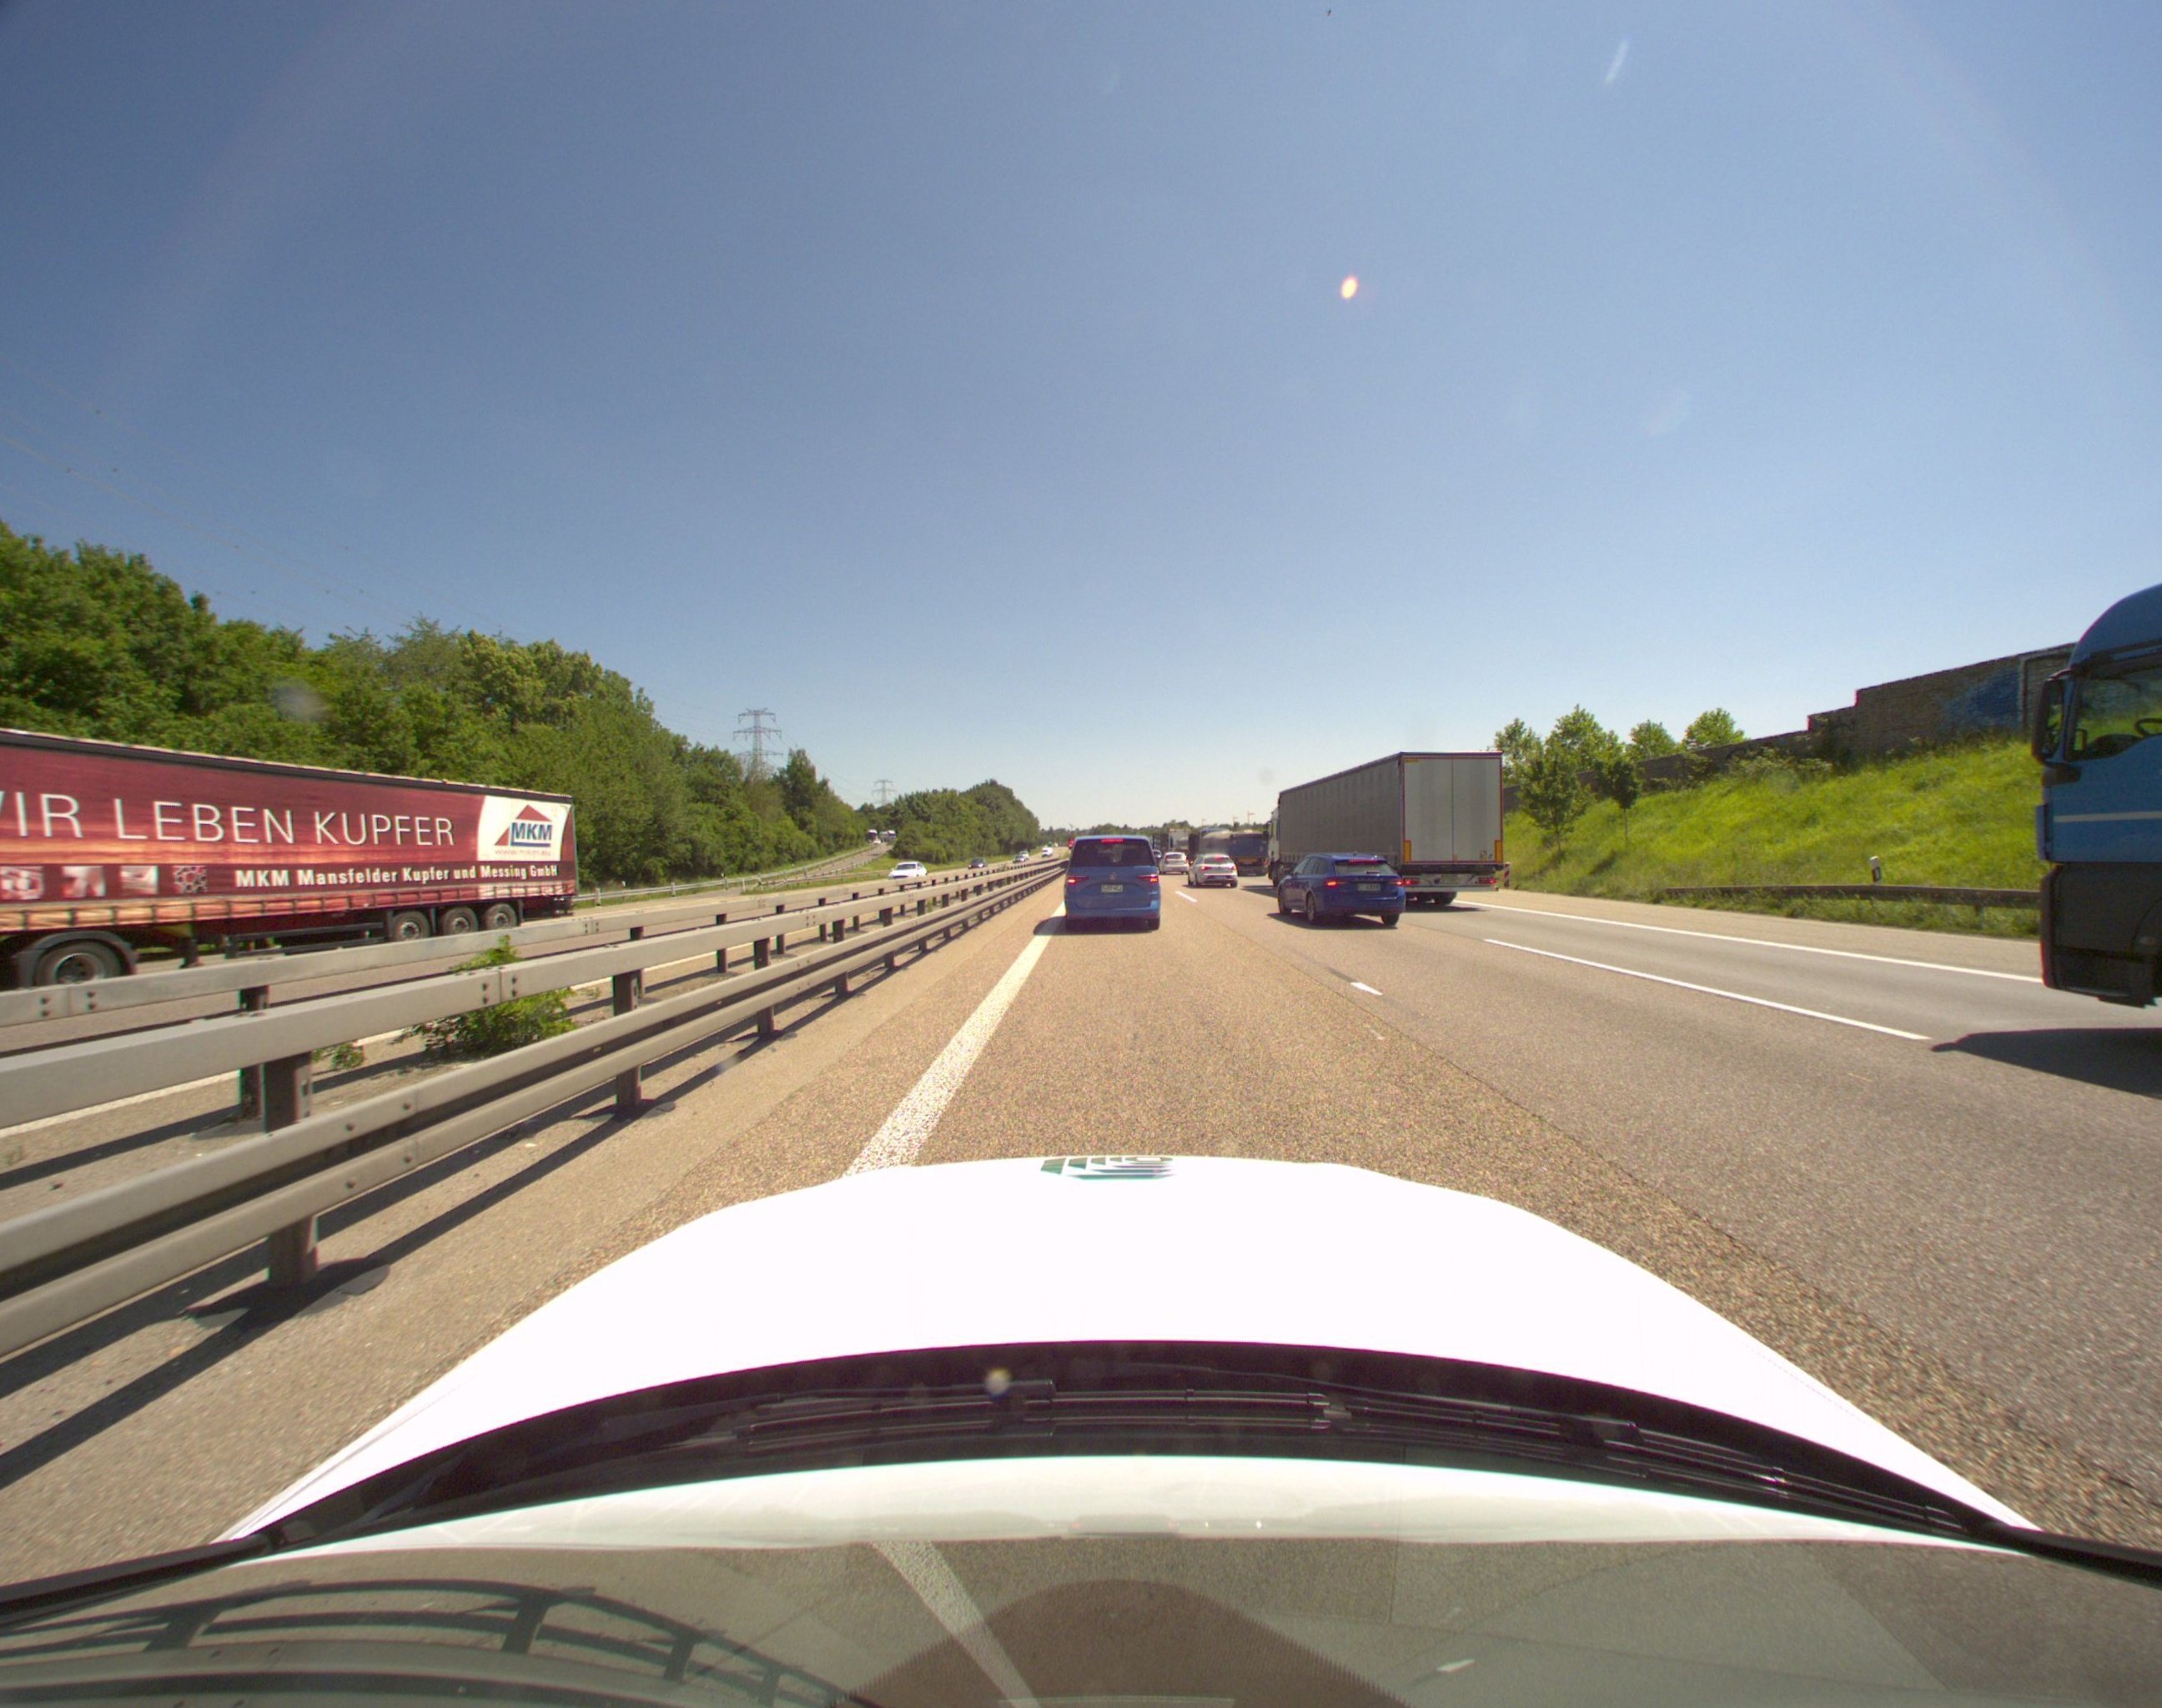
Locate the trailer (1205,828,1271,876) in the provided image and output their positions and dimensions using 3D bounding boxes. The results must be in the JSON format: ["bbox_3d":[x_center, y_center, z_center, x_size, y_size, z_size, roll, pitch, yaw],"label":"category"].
[{"bbox_3d":[10.073,-0.170,53.197,2.734,2.836,9.119,0,1,1],"label":"trailer"}]

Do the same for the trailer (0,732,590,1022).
[{"bbox_3d":[-16.066,0.366,16.574,2.753,3.976,14.685,-3,0,1],"label":"trailer"}]

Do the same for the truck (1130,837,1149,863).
[{"bbox_3d":[11.391,-0.741,158.849,3.057,4.920,10.691,0,-1,1],"label":"truck"}]

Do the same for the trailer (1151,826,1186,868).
[{"bbox_3d":[11.284,-0.763,106.234,3.632,5.136,13.083,0,-1,3],"label":"trailer"}]

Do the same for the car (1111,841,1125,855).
[{"bbox_3d":[7.293,-1.145,161.290,2.543,2.717,5.620,0,-1,0],"label":"car"}]

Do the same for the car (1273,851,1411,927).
[{"bbox_3d":[5.499,0.693,17.747,1.700,1.441,4.429,0,-1,2],"label":"car"}]

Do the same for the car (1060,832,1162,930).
[{"bbox_3d":[0.653,0.537,17.225,1.894,1.838,4.002,0,-1,2],"label":"car"}]

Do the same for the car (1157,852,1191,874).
[{"bbox_3d":[6.272,0.606,55.290,1.834,1.454,4.000,0,-1,0],"label":"car"}]

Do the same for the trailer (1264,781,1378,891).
[{"bbox_3d":[9.620,-0.658,33.425,2.914,4.044,6.412,-1,0,1],"label":"trailer"}]

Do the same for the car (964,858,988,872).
[{"bbox_3d":[-11.080,1.163,86.098,1.870,1.446,4.144,-3,-1,0],"label":"car"}]

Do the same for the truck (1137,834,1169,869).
[{"bbox_3d":[11.376,-0.254,130.575,3.610,5.213,15.684,0,-1,0],"label":"truck"}]

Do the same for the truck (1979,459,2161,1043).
[{"bbox_3d":[8.872,-0.708,1.931,2.755,4.109,9.956,0,0,2],"label":"truck"}]

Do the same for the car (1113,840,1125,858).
[{"bbox_3d":[11.790,-1.530,252.698,3.210,5.257,8.136,0,-1,-2],"label":"car"}]

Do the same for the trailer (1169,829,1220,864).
[{"bbox_3d":[10.892,-0.571,80.217,3.631,3.079,15.783,0,-1,3],"label":"trailer"}]

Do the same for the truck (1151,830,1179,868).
[{"bbox_3d":[11.557,-0.599,112.682,3.644,5.180,5.712,0,-1,3],"label":"truck"}]

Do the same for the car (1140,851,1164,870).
[{"bbox_3d":[5.925,0.578,68.541,1.774,1.524,4.000,0,-1,1],"label":"car"}]

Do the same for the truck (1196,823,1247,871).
[{"bbox_3d":[10.265,-0.516,60.294,2.734,3.311,7.135,0,1,1],"label":"truck"}]

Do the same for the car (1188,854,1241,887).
[{"bbox_3d":[5.764,0.677,35.603,1.860,1.361,4.003,0,0,2],"label":"car"}]

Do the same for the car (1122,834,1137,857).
[{"bbox_3d":[11.641,-1.965,194.957,3.206,5.257,8.146,0,-1,1],"label":"car"}]

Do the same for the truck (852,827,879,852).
[{"bbox_3d":[-65.187,-4.203,246.372,4.700,7.228,13.512,0,-1,-29],"label":"truck"}]

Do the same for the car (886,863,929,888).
[{"bbox_3d":[-11.257,1.384,53.167,1.845,1.467,4.303,-2,-1,0],"label":"car"}]

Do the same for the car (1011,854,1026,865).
[{"bbox_3d":[-9.157,0.864,119.351,1.767,1.631,3.950,0,-1,0],"label":"car"}]

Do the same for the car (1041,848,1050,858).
[{"bbox_3d":[-9.512,-0.185,216.147,2.045,2.651,5.838,-1,-1,0],"label":"car"}]

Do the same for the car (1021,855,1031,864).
[{"bbox_3d":[-12.519,1.253,184.913,1.859,1.904,5.491,-3,-1,0],"label":"car"}]

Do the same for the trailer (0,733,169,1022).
[{"bbox_3d":[-16.229,0.384,10.058,2.747,3.976,6.133,-3,0,1],"label":"trailer"}]

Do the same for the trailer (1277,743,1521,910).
[{"bbox_3d":[9.471,-0.656,26.891,2.951,4.049,13.755,-1,0,1],"label":"trailer"}]

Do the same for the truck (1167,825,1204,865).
[{"bbox_3d":[11.358,-0.912,88.975,3.610,4.095,7.531,0,-1,4],"label":"truck"}]

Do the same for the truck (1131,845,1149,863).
[{"bbox_3d":[6.292,0.057,87.784,1.719,1.857,4.000,0,-1,1],"label":"truck"}]
